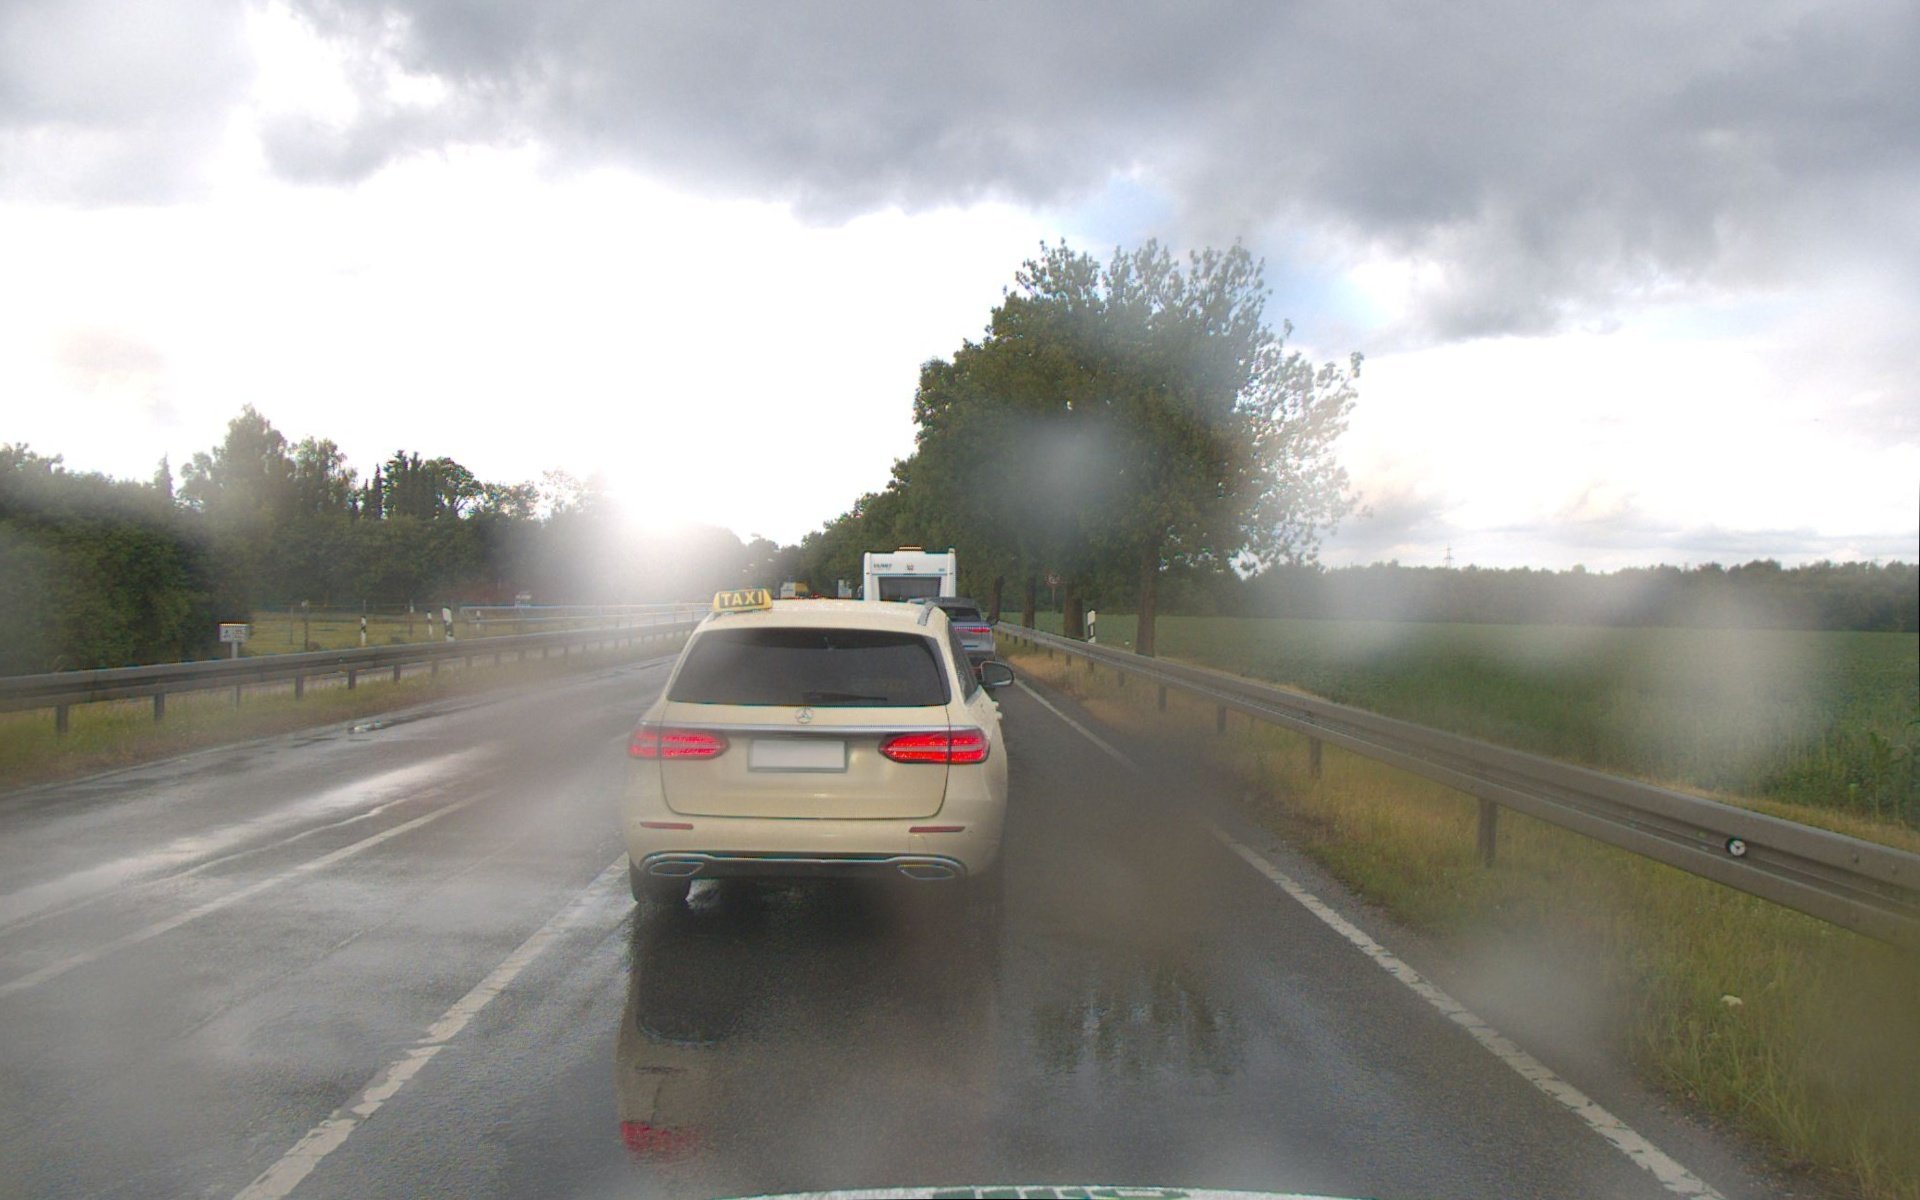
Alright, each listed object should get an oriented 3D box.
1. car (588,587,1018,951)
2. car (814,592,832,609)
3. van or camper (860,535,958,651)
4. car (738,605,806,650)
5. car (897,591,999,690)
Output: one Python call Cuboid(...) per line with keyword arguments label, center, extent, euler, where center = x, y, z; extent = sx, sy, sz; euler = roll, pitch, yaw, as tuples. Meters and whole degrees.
Cuboid(label="car", center=(-0.646, 0.704, 8.975), extent=(1.787, 1.511, 4.145), euler=(0, 0, 0))
Cuboid(label="car", center=(-17.293, 0.103, 208.742), extent=(1.953, 2.087, 3.998), euler=(1, 0, -2))
Cuboid(label="van or camper", center=(-1.260, -0.183, 42.341), extent=(2.303, 2.727, 5.767), euler=(1, 0, -1))
Cuboid(label="car", center=(-5.844, 0.831, 51.756), extent=(1.723, 1.291, 3.999), euler=(1, 0, -1))
Cuboid(label="car", center=(-0.217, 0.634, 28.141), extent=(1.594, 1.556, 3.932), euler=(1, 0, -1))
